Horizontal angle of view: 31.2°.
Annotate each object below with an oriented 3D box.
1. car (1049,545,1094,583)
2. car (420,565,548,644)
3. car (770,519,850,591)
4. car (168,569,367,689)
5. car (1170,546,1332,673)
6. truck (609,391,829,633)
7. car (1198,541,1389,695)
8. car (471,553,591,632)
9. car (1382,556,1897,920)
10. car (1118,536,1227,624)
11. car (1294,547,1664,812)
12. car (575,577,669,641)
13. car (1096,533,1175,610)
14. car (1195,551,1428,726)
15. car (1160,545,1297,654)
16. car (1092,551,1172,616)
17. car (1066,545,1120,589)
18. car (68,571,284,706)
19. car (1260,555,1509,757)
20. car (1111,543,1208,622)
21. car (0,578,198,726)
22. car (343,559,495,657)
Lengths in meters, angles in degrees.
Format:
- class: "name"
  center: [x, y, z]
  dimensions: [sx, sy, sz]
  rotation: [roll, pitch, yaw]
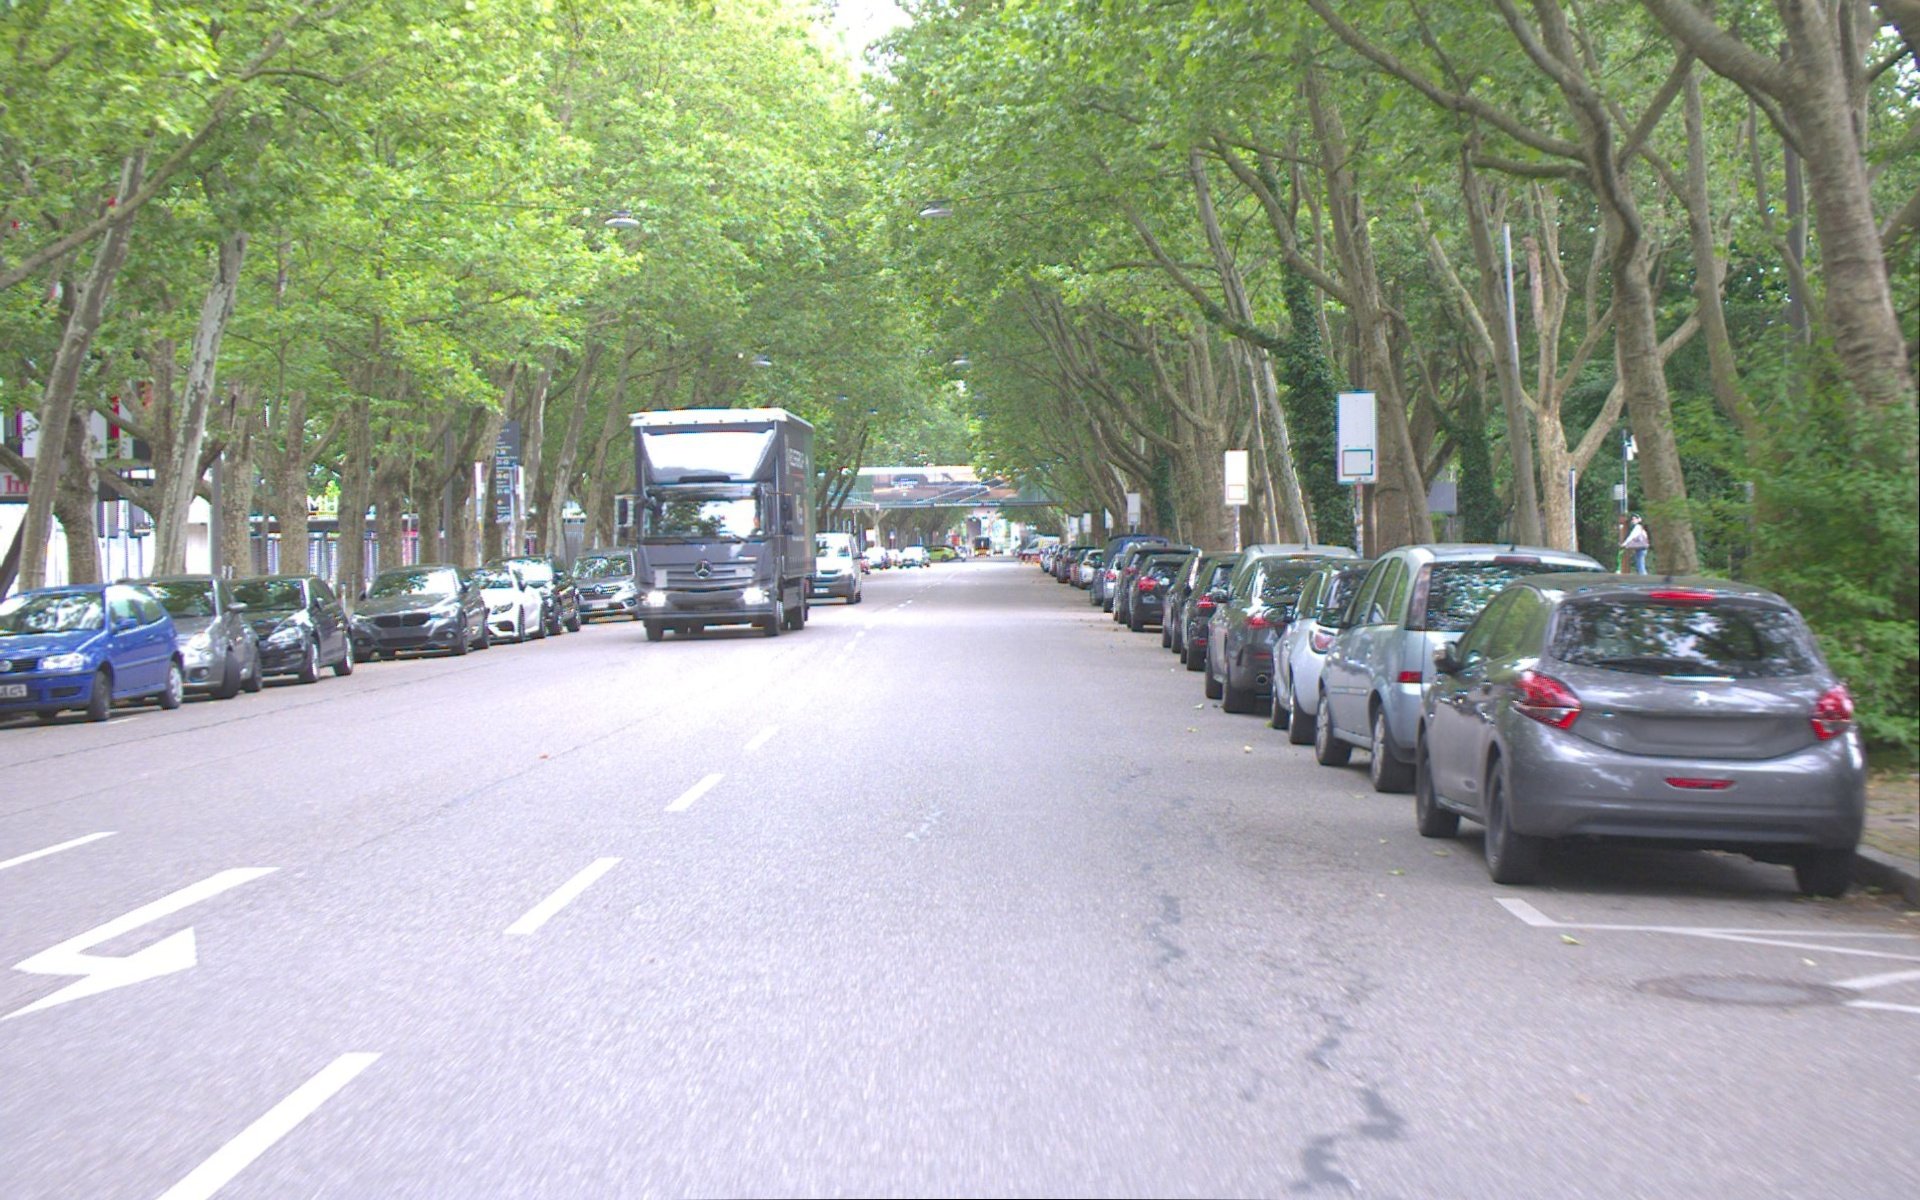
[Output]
- class: "car"
  center: [4.739, -1.535, 146.673]
  dimensions: [1.756, 1.529, 3.929]
  rotation: [2, 1, 0]
- class: "car"
  center: [-8.634, 0.097, 62.581]
  dimensions: [1.732, 1.328, 4.000]
  rotation: [-2, -1, 0]
- class: "car"
  center: [-4.092, -1.232, 94.246]
  dimensions: [1.980, 1.927, 4.113]
  rotation: [0, 1, 0]
- class: "car"
  center: [-9.078, 0.378, 45.322]
  dimensions: [1.765, 1.414, 3.761]
  rotation: [-4, 0, 0]
- class: "car"
  center: [3.720, 0.099, 44.550]
  dimensions: [1.756, 1.529, 3.929]
  rotation: [2, 1, 0]
- class: "truck"
  center: [-4.148, -1.491, 61.321]
  dimensions: [2.641, 3.888, 9.539]
  rotation: [-2, 1, 3]
- class: "car"
  center: [3.704, 0.169, 38.709]
  dimensions: [1.756, 1.591, 3.929]
  rotation: [2, 1, 0]
- class: "car"
  center: [-8.493, -0.132, 68.292]
  dimensions: [1.895, 1.433, 4.000]
  rotation: [-2, -1, -1]
- class: "car"
  center: [3.301, 0.585, 17.552]
  dimensions: [1.699, 1.514, 4.454]
  rotation: [3, 1, 0]
- class: "car"
  center: [3.908, -0.370, 63.649]
  dimensions: [1.756, 1.529, 3.929]
  rotation: [2, 1, 0]
- class: "car"
  center: [3.419, 0.469, 23.362]
  dimensions: [1.719, 1.562, 4.094]
  rotation: [3, 1, -2]
- class: "car"
  center: [-8.093, 0.240, 82.643]
  dimensions: [1.895, 1.433, 4.000]
  rotation: [-2, -1, -1]
- class: "car"
  center: [4.600, -0.766, 90.608]
  dimensions: [1.756, 1.809, 3.929]
  rotation: [-5, 2, 1]
- class: "car"
  center: [3.316, 0.321, 33.166]
  dimensions: [1.756, 1.485, 4.417]
  rotation: [3, 1, 0]
- class: "car"
  center: [4.016, -0.030, 51.918]
  dimensions: [1.756, 1.529, 3.929]
  rotation: [2, 1, 0]
- class: "car"
  center: [4.149, -0.416, 83.331]
  dimensions: [1.756, 1.529, 3.929]
  rotation: [-1, 1, 0]
- class: "car"
  center: [4.821, -1.192, 124.961]
  dimensions: [1.756, 1.529, 3.929]
  rotation: [-2, 1, 0]
- class: "car"
  center: [-9.219, 0.448, 40.673]
  dimensions: [1.765, 1.414, 3.761]
  rotation: [-4, 0, -3]
- class: "car"
  center: [3.445, 0.417, 28.468]
  dimensions: [1.675, 1.485, 3.686]
  rotation: [3, 1, 2]
- class: "car"
  center: [4.007, -0.375, 69.686]
  dimensions: [1.756, 1.529, 3.929]
  rotation: [-1, 1, 0]
- class: "car"
  center: [-9.393, 0.536, 35.845]
  dimensions: [1.695, 1.414, 3.761]
  rotation: [-4, 0, 5]
- class: "car"
  center: [-8.668, 0.133, 55.357]
  dimensions: [1.765, 1.414, 3.761]
  rotation: [-4, 0, 0]
